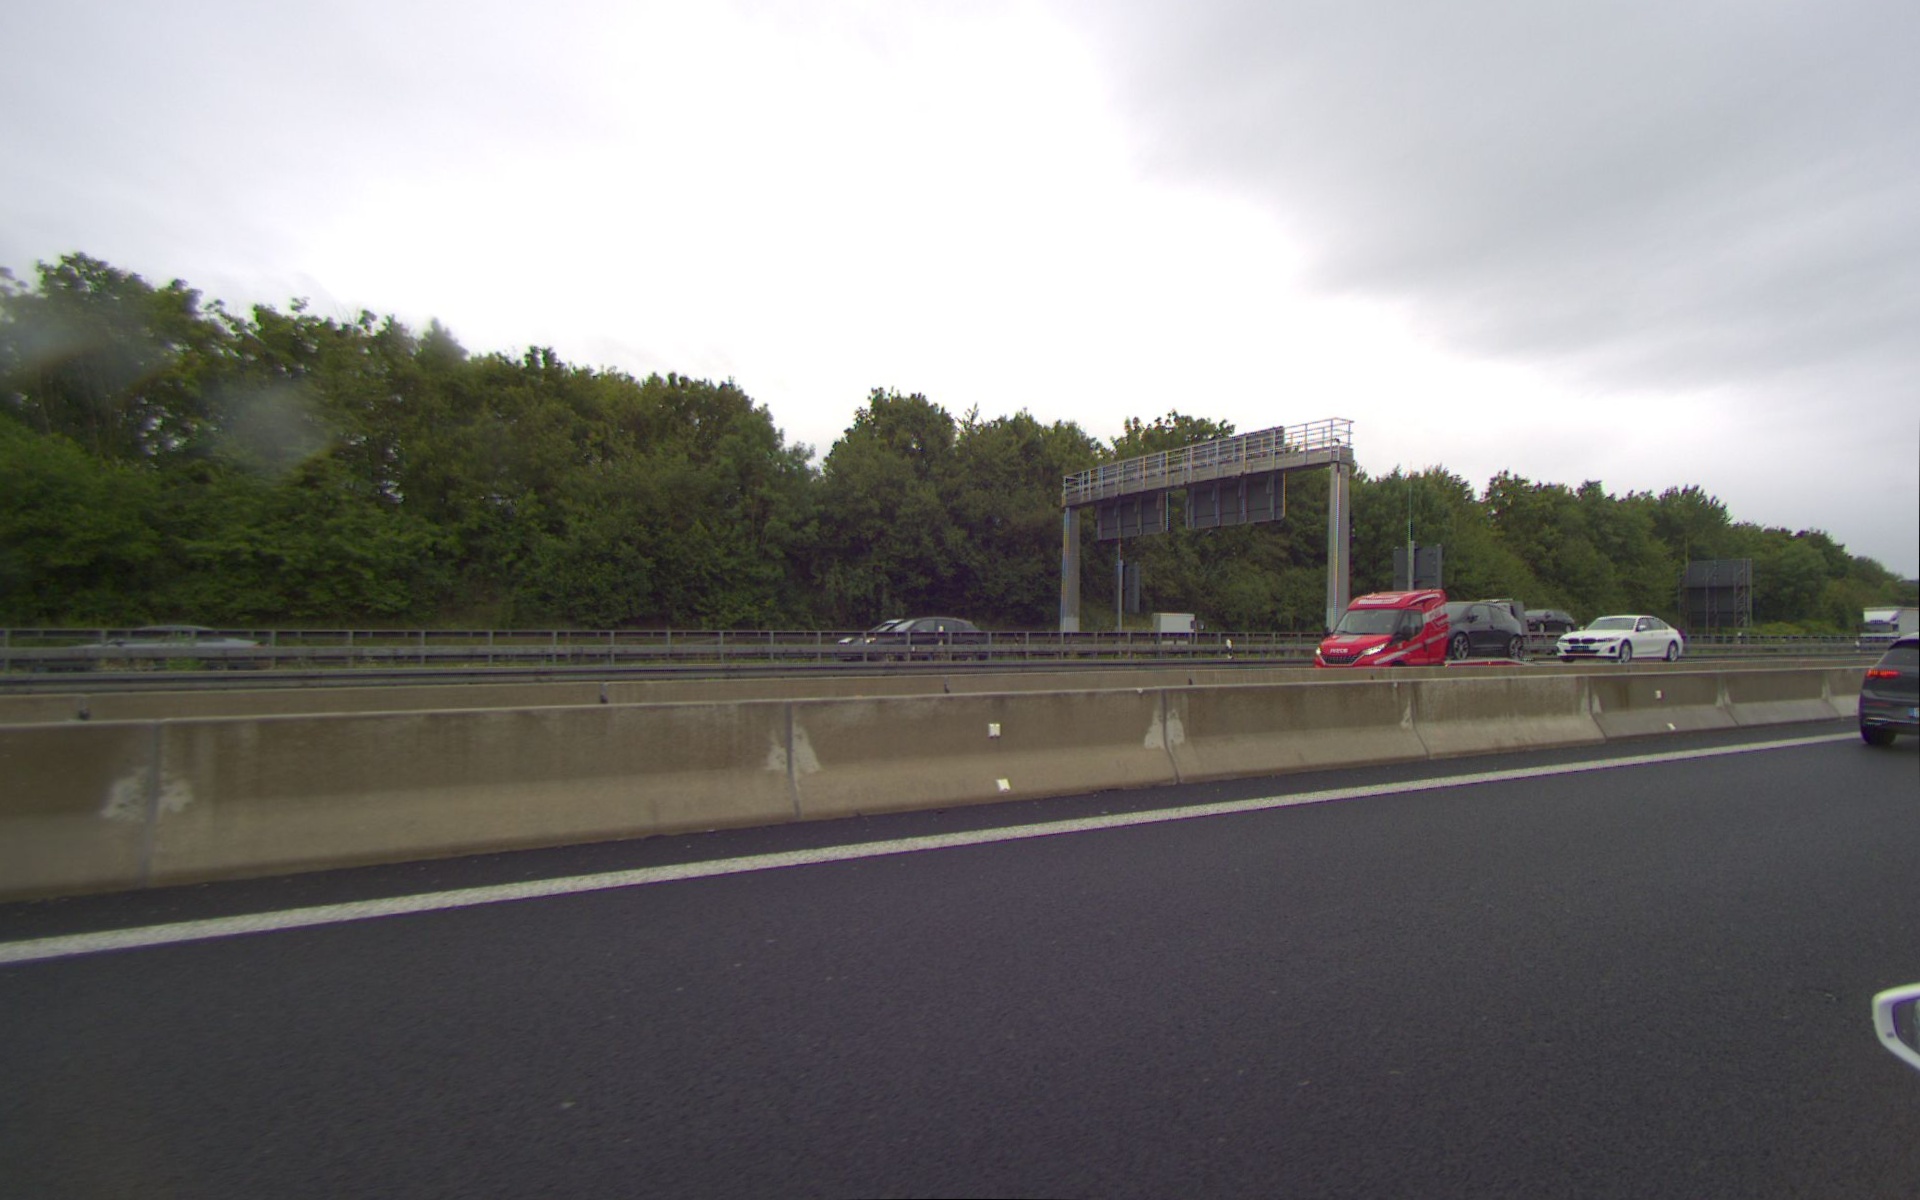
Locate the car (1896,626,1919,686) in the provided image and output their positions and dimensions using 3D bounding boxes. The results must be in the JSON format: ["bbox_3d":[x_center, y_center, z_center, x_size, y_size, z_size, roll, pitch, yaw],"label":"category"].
[{"bbox_3d":[35.065,1.971,35.135,5.038,2.040,1.985,1,-1,-29],"label":"car"}]

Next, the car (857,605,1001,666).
[{"bbox_3d":[-0.958,1.097,31.569,4.133,1.812,1.827,1,-1,-29],"label":"car"}]

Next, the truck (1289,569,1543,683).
[{"bbox_3d":[11.904,0.681,26.008,7.011,2.628,2.414,2,-1,-31],"label":"truck"}]

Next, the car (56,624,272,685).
[{"bbox_3d":[-19.569,1.312,24.939,3.955,1.394,1.788,1,-1,-32],"label":"car"}]

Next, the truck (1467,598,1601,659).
[{"bbox_3d":[32.013,1.581,55.856,8.745,3.187,2.501,1,-1,-31],"label":"truck"}]

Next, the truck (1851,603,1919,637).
[{"bbox_3d":[84.390,1.839,91.299,8.443,2.910,2.725,1,-1,-31],"label":"truck"}]

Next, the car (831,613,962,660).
[{"bbox_3d":[-2.218,1.252,35.218,4.163,1.550,1.984,1,-1,-30],"label":"car"}]

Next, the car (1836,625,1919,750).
[{"bbox_3d":[13.246,1.095,12.825,4.316,1.444,1.821,2,0,-30],"label":"car"}]

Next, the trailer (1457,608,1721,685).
[{"bbox_3d":[19.286,1.354,30.465,10.127,2.040,2.524,1,-1,-31],"label":"trailer"}]
